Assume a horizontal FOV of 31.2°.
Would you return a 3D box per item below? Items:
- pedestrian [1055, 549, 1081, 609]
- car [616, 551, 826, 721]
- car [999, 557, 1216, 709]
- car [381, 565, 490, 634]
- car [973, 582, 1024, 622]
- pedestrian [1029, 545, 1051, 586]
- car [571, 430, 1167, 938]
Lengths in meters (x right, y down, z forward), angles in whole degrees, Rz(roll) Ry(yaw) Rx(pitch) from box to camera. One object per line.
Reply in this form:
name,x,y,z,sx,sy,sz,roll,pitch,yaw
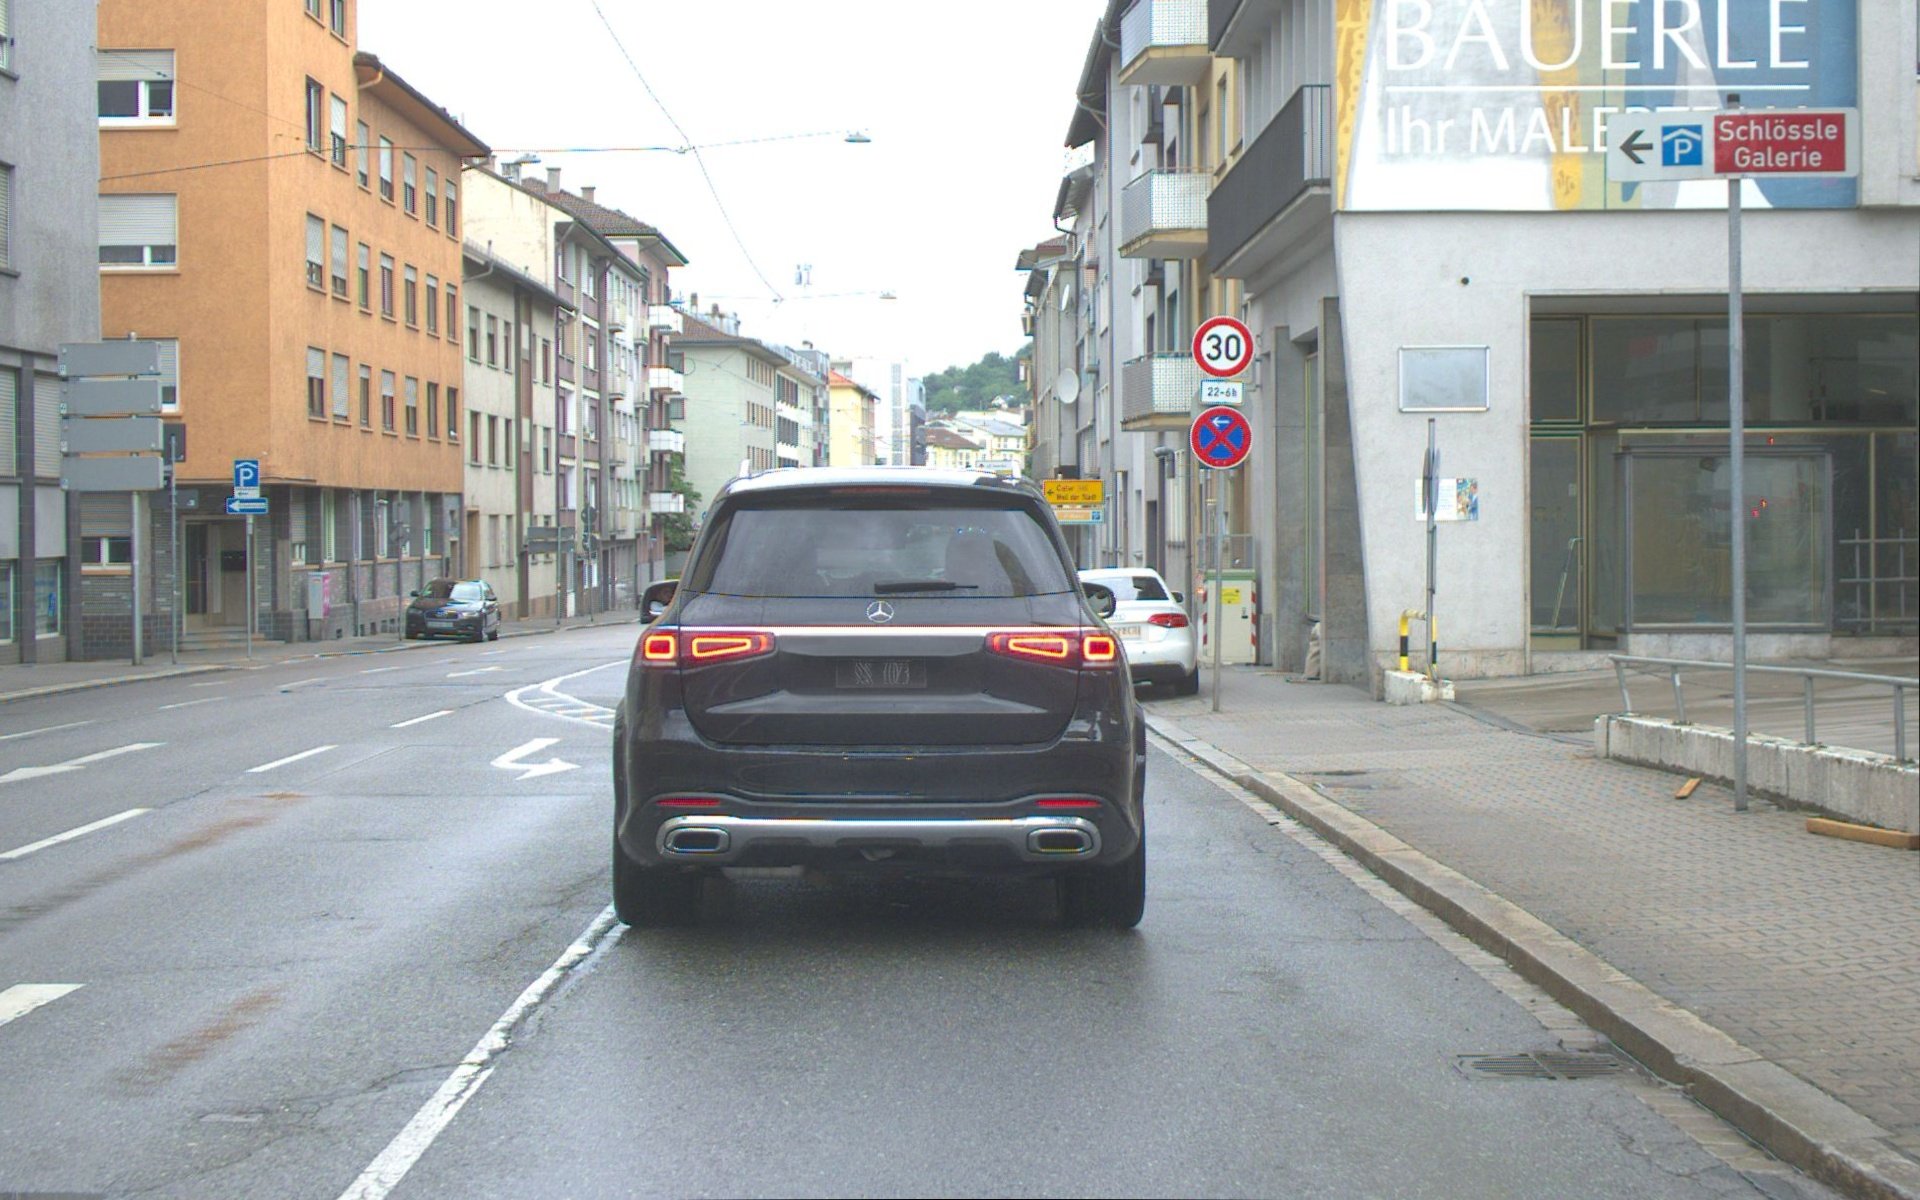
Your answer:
pedestrian,3.206,-0.629,102.125,0.655,1.746,0.741,-2,0,5
car,-2.304,0.303,33.852,1.893,1.505,4.174,2,1,-3
car,1.574,0.315,38.338,1.893,1.398,4.609,-5,1,-3
car,-11.736,-0.031,77.168,1.891,1.453,4.550,1,1,-2
car,1.413,0.075,127.886,1.734,1.383,4.583,1,1,-1
pedestrian,3.083,-1.344,132.292,0.821,1.560,0.899,1,1,3
car,-0.343,0.251,14.462,2.076,1.759,4.611,1,1,-1
